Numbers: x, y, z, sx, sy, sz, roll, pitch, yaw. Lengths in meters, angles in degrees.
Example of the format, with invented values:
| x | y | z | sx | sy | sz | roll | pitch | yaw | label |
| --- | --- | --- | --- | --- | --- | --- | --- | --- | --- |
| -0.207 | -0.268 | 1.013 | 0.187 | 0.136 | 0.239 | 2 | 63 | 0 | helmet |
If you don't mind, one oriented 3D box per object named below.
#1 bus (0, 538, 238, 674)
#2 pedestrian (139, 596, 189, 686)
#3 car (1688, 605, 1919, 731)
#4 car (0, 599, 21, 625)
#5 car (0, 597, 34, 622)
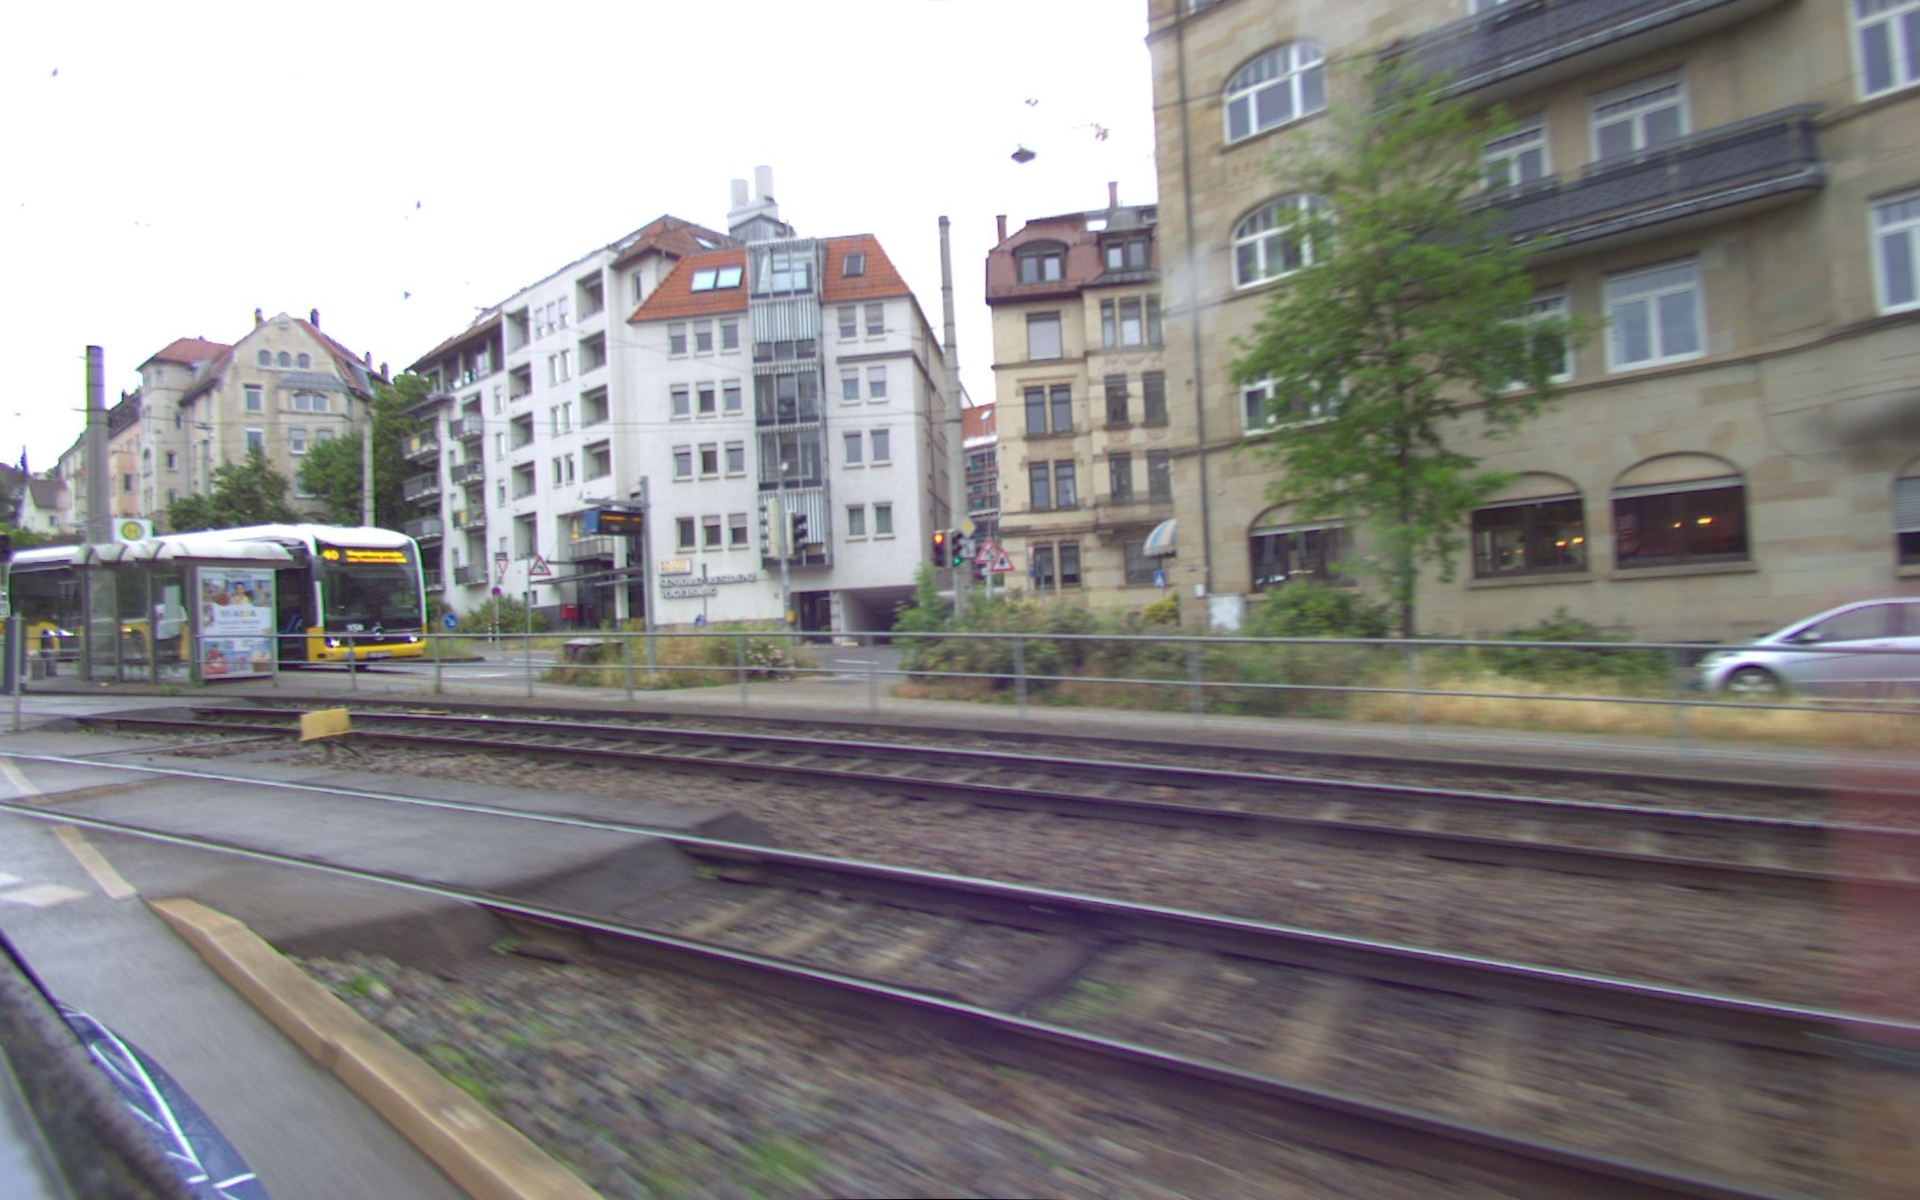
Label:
| x | y | z | sx | sy | sz | roll | pitch | yaw | label |
| --- | --- | --- | --- | --- | --- | --- | --- | --- | --- |
| -24.597 | 0.211 | 29.318 | 9.075 | 3.495 | 2.571 | 0 | -2 | 31 | bus |
| -15.919 | 0.816 | 20.245 | 0.541 | 1.765 | 0.572 | 0 | -2 | 28 | pedestrian |
| 12.170 | 0.858 | 13.262 | 4.171 | 1.559 | 1.614 | -1 | -2 | 40 | car |
| -77.482 | 0.954 | 81.630 | 3.996 | 2.029 | 1.973 | -1 | -2 | 40 | car |
| -74.279 | 0.764 | 79.468 | 3.660 | 1.849 | 1.660 | -1 | -2 | 37 | car |
